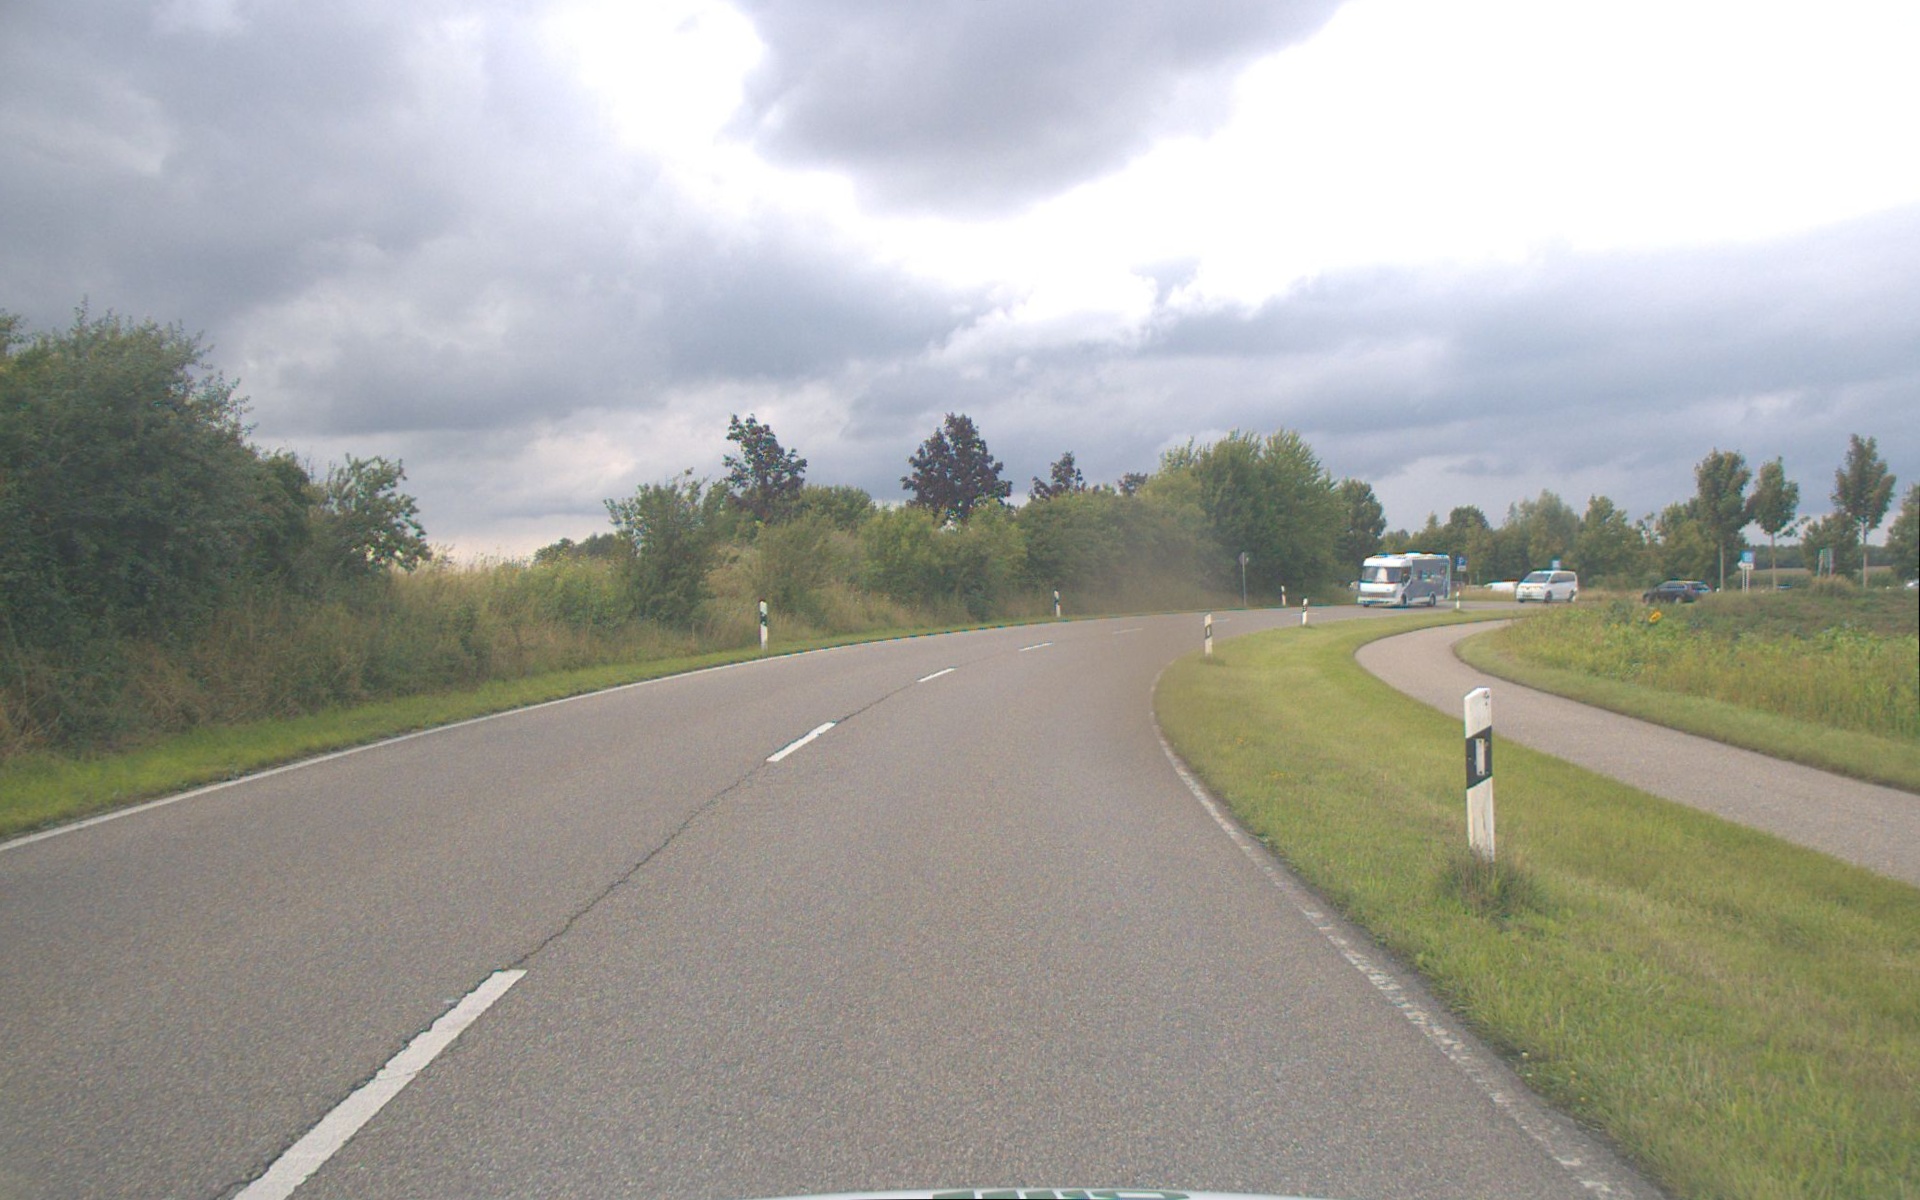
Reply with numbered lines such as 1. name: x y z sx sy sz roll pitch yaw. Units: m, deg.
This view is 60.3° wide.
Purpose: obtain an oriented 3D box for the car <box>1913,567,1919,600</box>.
1. car: 60.439 -0.987 99.677 1.939 2.008 4.884 0 1 -43

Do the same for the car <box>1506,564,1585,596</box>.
1. car: 35.794 -1.235 101.049 5.130 1.901 2.093 -1 1 -37

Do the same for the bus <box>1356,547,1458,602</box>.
1. bus: 23.846 -1.350 87.912 2.434 2.758 8.397 0 1 36
